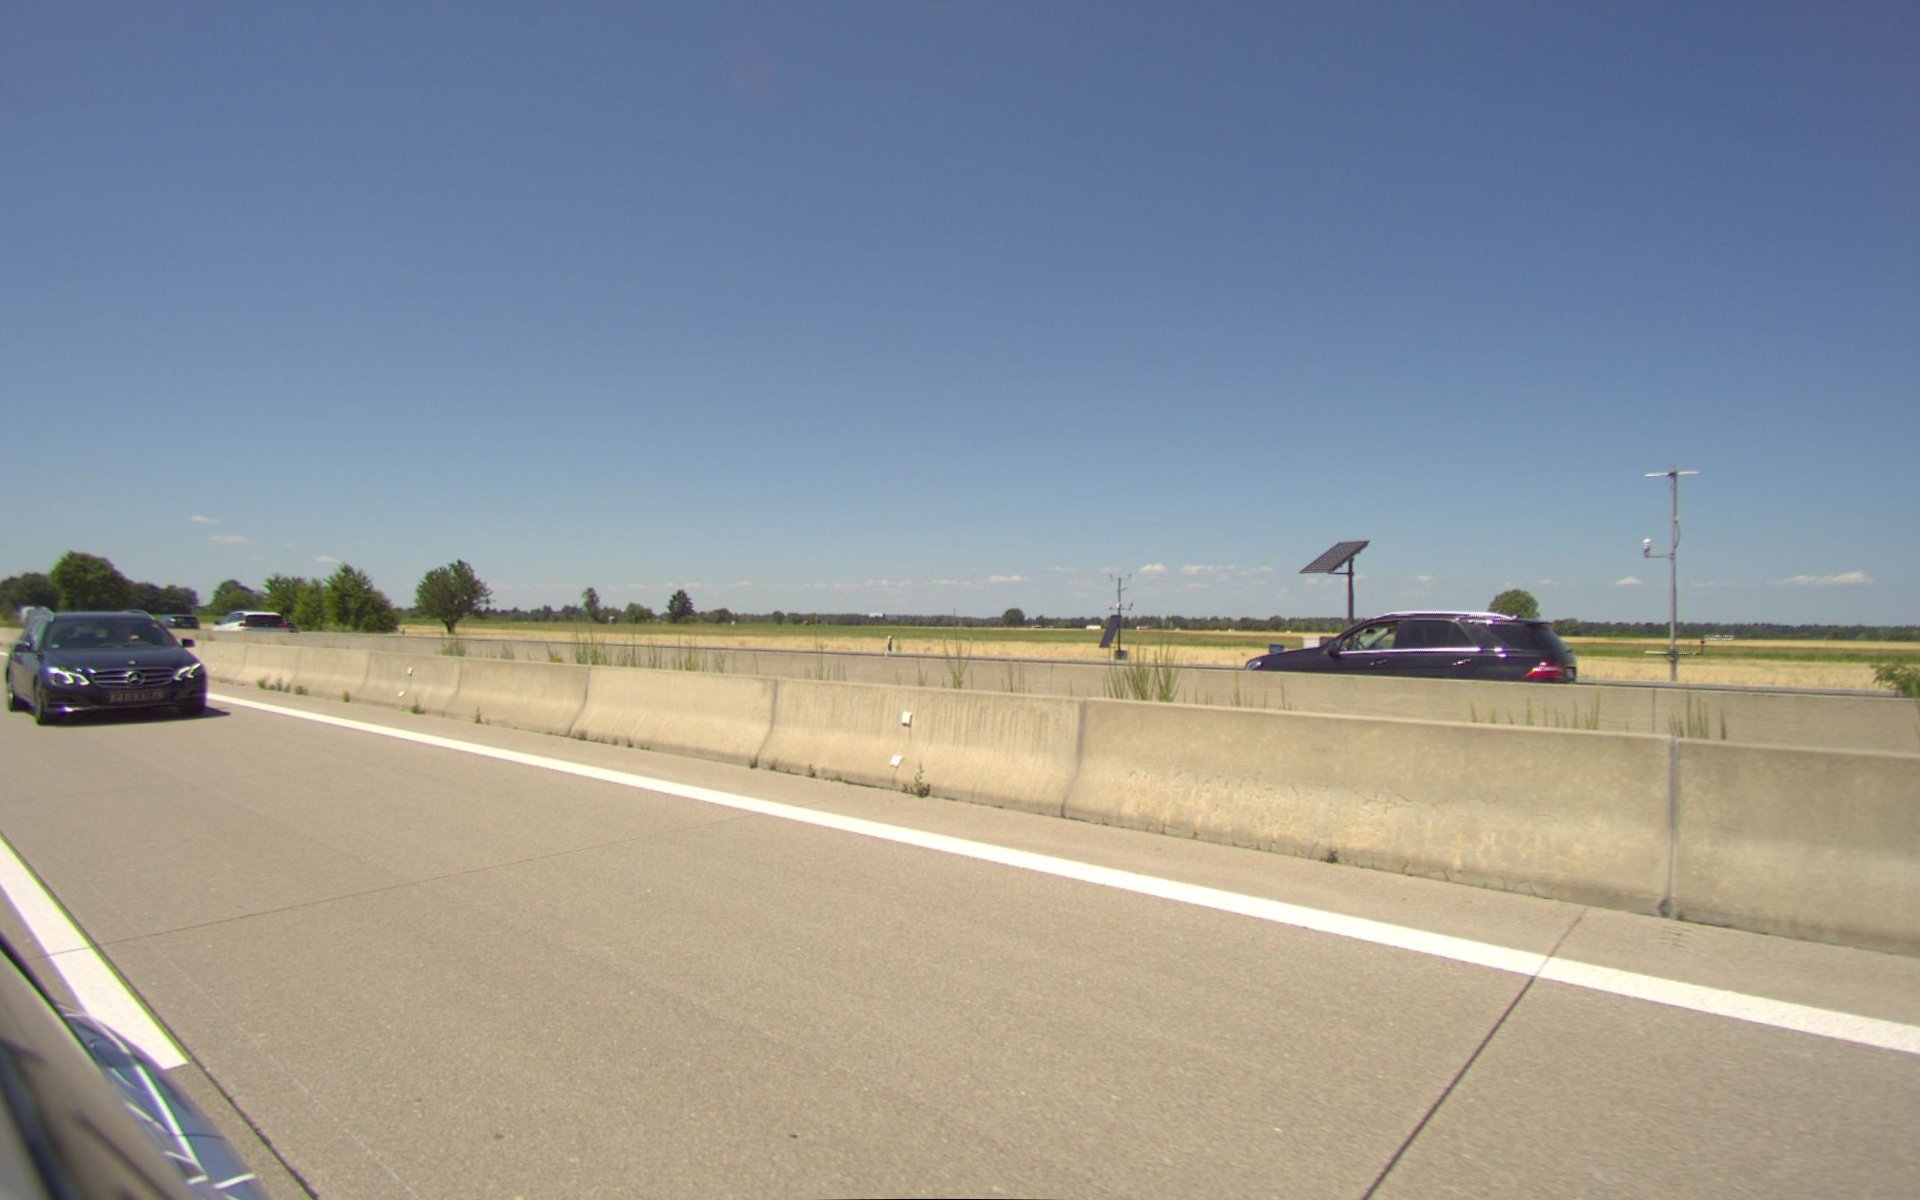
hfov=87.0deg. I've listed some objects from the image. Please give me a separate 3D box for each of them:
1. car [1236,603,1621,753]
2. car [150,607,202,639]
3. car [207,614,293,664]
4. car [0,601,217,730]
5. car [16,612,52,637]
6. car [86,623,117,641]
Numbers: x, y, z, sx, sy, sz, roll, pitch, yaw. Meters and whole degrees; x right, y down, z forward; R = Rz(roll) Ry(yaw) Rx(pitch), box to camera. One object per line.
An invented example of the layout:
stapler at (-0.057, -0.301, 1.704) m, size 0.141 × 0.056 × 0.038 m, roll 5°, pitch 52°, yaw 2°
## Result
car at (6.764, 1.010, 14.909) m, size 4.810 × 1.852 × 1.974 m, roll -1°, pitch -1°, yaw 39°
car at (-50.704, 1.473, 65.387) m, size 4.401 × 1.929 × 1.972 m, roll -1°, pitch -1°, yaw 43°
car at (-28.143, 1.507, 40.084) m, size 3.997 × 1.874 × 1.886 m, roll -1°, pitch -1°, yaw 41°
car at (-12.360, 0.853, 14.614) m, size 3.938 × 1.597 × 1.824 m, roll -1°, pitch -1°, yaw 41°
car at (-98.020, 2.613, 107.107) m, size 6.121 × 2.539 × 2.189 m, roll -1°, pitch -1°, yaw 41°
car at (-87.060, 3.226, 102.588) m, size 4.840 × 1.696 × 1.735 m, roll -1°, pitch -1°, yaw 42°
